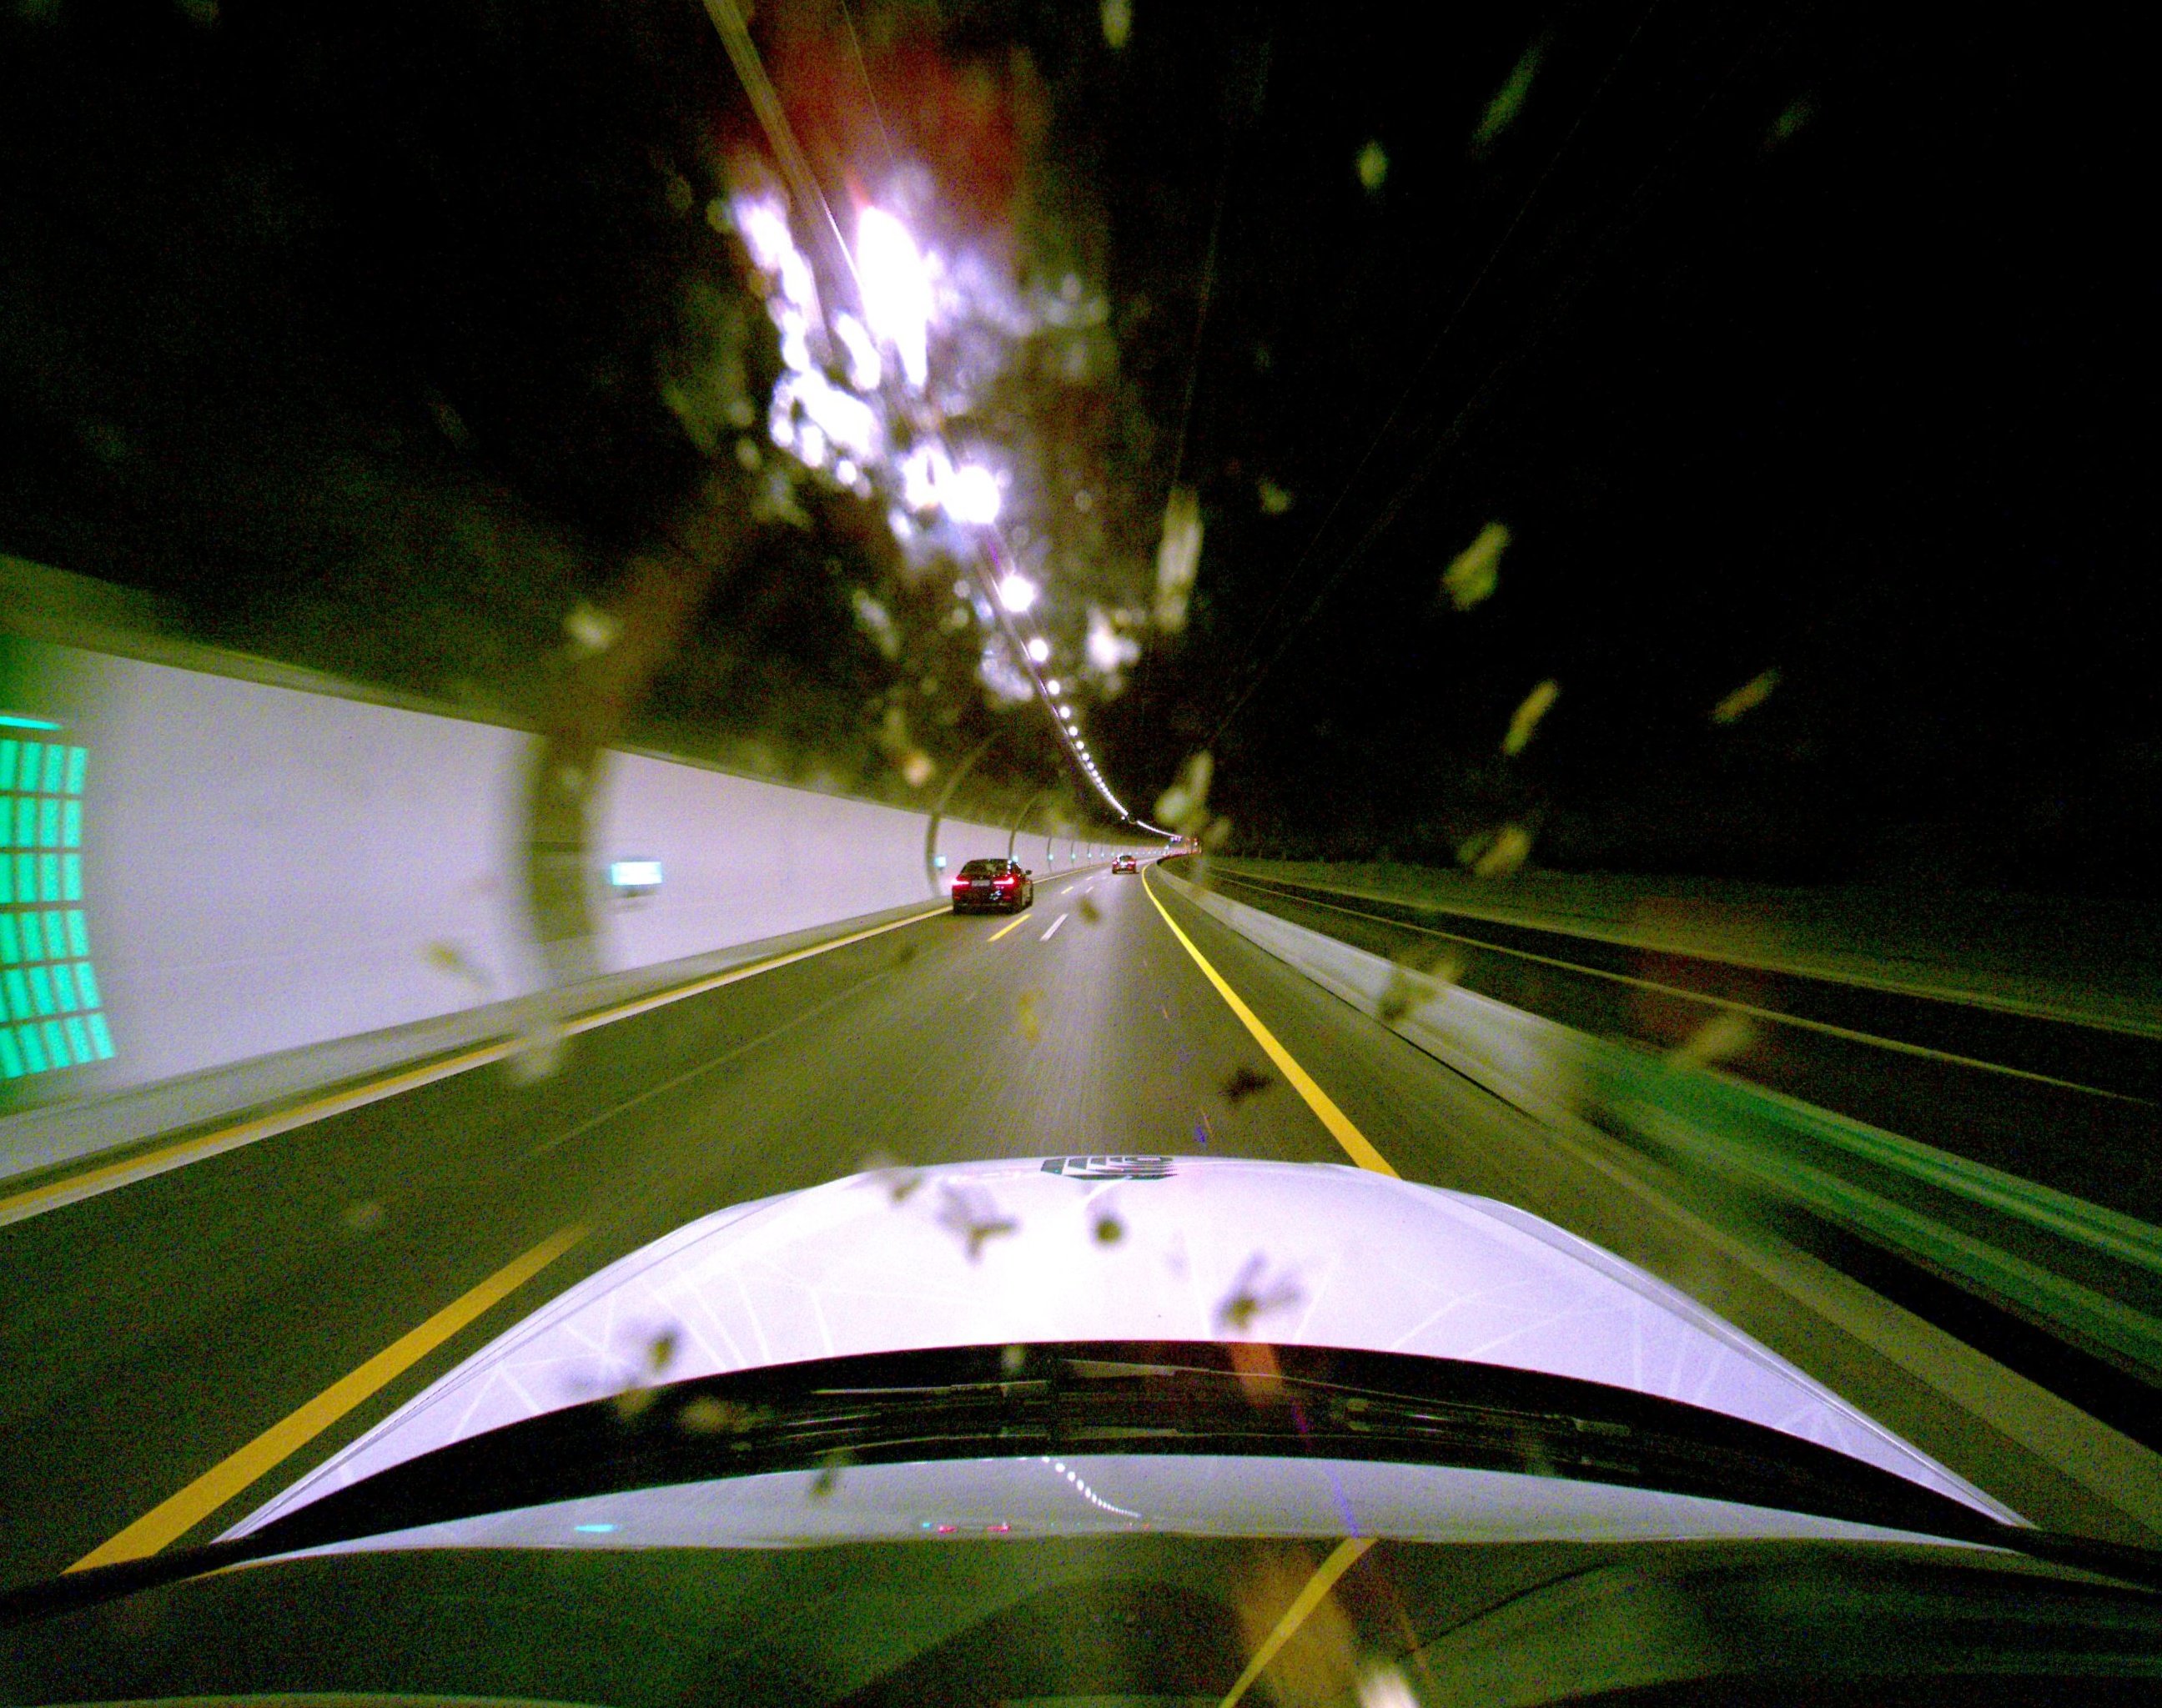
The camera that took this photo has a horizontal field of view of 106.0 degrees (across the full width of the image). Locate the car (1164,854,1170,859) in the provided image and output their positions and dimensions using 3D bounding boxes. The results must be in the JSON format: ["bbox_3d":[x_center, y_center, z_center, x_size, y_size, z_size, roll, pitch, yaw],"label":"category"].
[{"bbox_3d":[23.530,0.663,223.877,1.587,1.333,3.756,-1,0,5],"label":"car"}]

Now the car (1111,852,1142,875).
[{"bbox_3d":[3.645,0.701,64.344,2.129,1.706,4.008,-1,0,7],"label":"car"}]

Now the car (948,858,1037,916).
[{"bbox_3d":[-2.400,0.862,23.294,1.771,1.438,4.886,-1,0,2],"label":"car"}]
